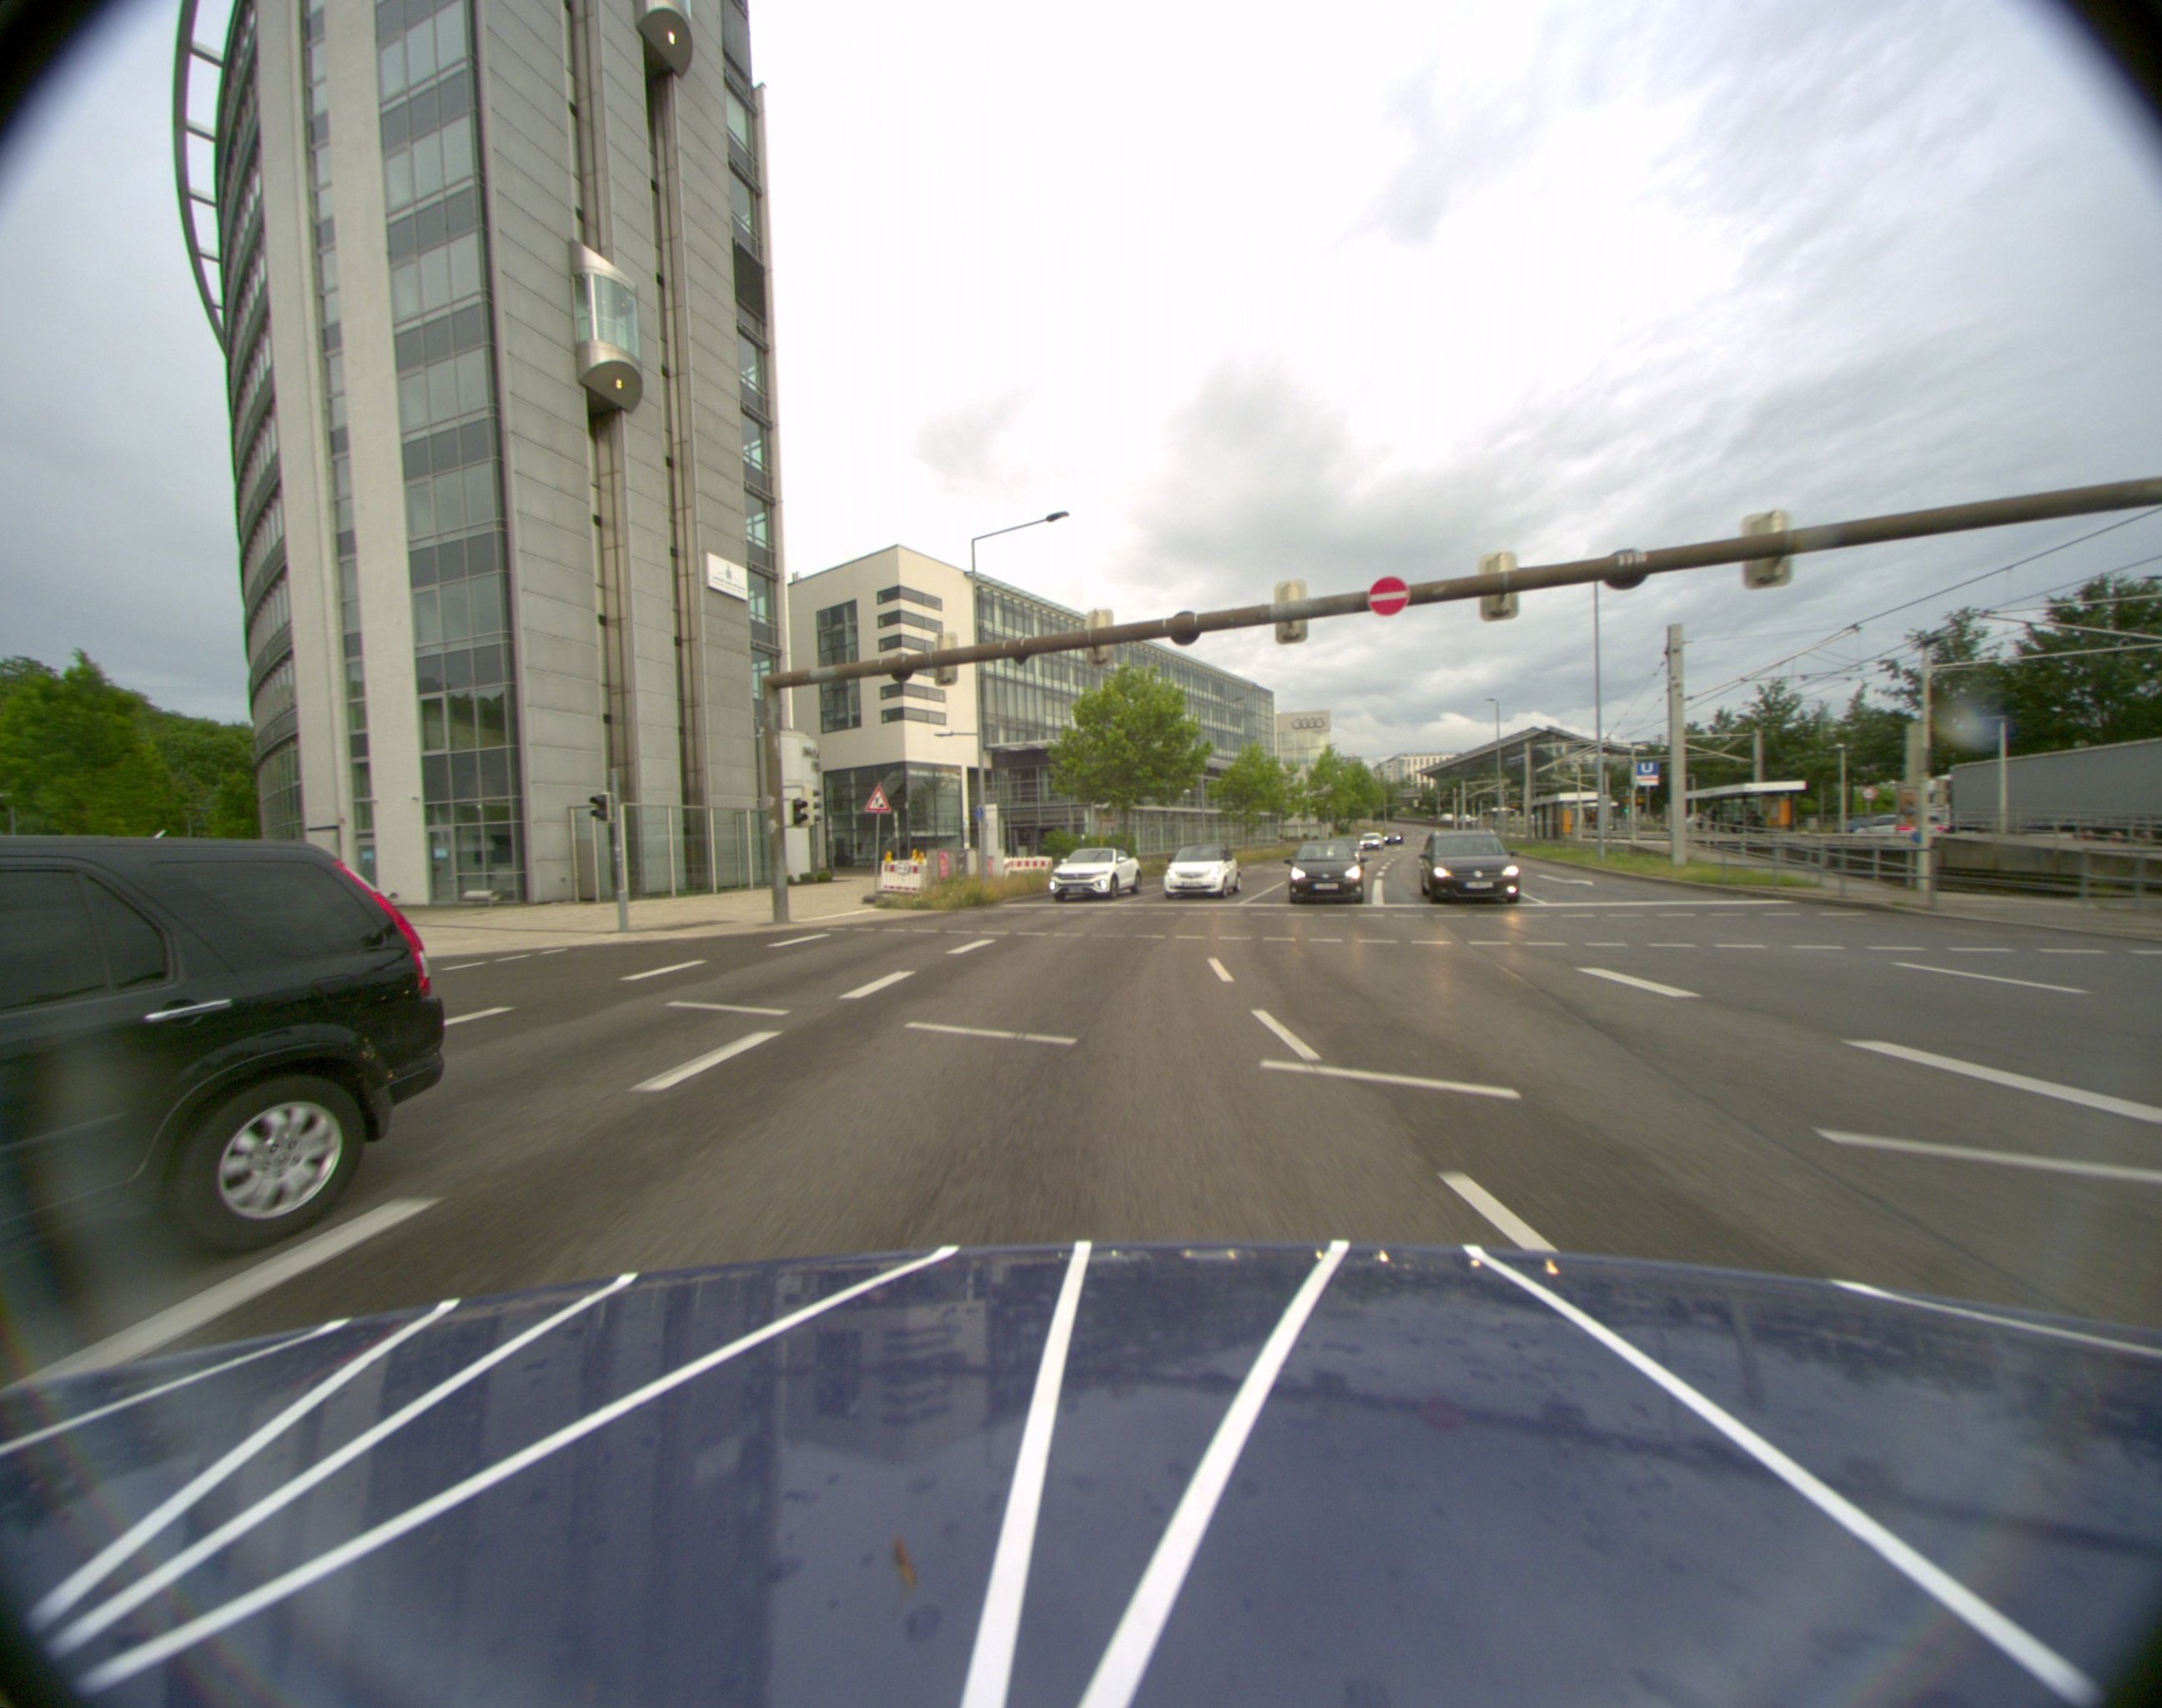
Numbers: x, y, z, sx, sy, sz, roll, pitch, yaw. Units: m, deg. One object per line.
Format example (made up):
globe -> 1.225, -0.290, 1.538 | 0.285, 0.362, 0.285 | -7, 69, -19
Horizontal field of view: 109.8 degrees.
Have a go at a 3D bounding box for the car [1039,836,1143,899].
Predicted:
car -> 0.414, 0.380, 22.680 | 1.996, 1.668, 3.827 | -2, -1, 18

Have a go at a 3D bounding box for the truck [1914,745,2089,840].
truck -> 43.319, -2.732, 36.061 | 2.834, 3.973, 5.995 | -1, 1, 23

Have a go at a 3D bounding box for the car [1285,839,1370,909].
car -> 6.194, 0.426, 18.835 | 1.694, 1.514, 3.910 | -2, 1, 21

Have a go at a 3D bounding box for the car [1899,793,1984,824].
car -> 50.799, -2.636, 44.969 | 1.573, 1.617, 4.087 | -4, 1, 21

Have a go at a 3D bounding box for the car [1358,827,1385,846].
car -> 29.538, -1.763, 77.246 | 1.826, 1.701, 4.159 | -4, 1, 30

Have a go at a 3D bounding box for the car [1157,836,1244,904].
car -> 3.588, 0.386, 22.304 | 1.802, 1.713, 4.004 | 0, 2, 19

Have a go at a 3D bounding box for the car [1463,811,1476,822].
car -> 89.113, -8.572, 174.364 | 1.996, 2.202, 5.150 | -4, 1, 23

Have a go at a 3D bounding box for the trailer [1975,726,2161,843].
trailer -> 40.518, -2.548, 29.370 | 2.797, 4.084, 11.458 | -1, 1, 23

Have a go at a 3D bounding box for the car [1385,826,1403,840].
car -> 39.345, -2.666, 95.505 | 1.699, 1.514, 3.830 | -2, 2, 27

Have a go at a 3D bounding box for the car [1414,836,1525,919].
car -> 8.907, 0.455, 17.737 | 1.729, 1.583, 4.197 | -4, 1, 20

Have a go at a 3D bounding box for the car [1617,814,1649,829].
car -> 59.269, -3.502, 81.648 | 1.789, 1.494, 4.005 | -4, 1, 23

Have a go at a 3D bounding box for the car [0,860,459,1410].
car -> -4.231, 0.934, 1.716 | 1.769, 1.620, 4.325 | -4, 1, 4

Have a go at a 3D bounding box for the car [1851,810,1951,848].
car -> 40.862, -1.271, 37.991 | 1.889, 1.643, 4.100 | -4, 1, 24

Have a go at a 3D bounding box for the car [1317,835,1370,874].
car -> 11.750, -0.026, 33.846 | 1.737, 1.470, 4.005 | -3, 1, 25
